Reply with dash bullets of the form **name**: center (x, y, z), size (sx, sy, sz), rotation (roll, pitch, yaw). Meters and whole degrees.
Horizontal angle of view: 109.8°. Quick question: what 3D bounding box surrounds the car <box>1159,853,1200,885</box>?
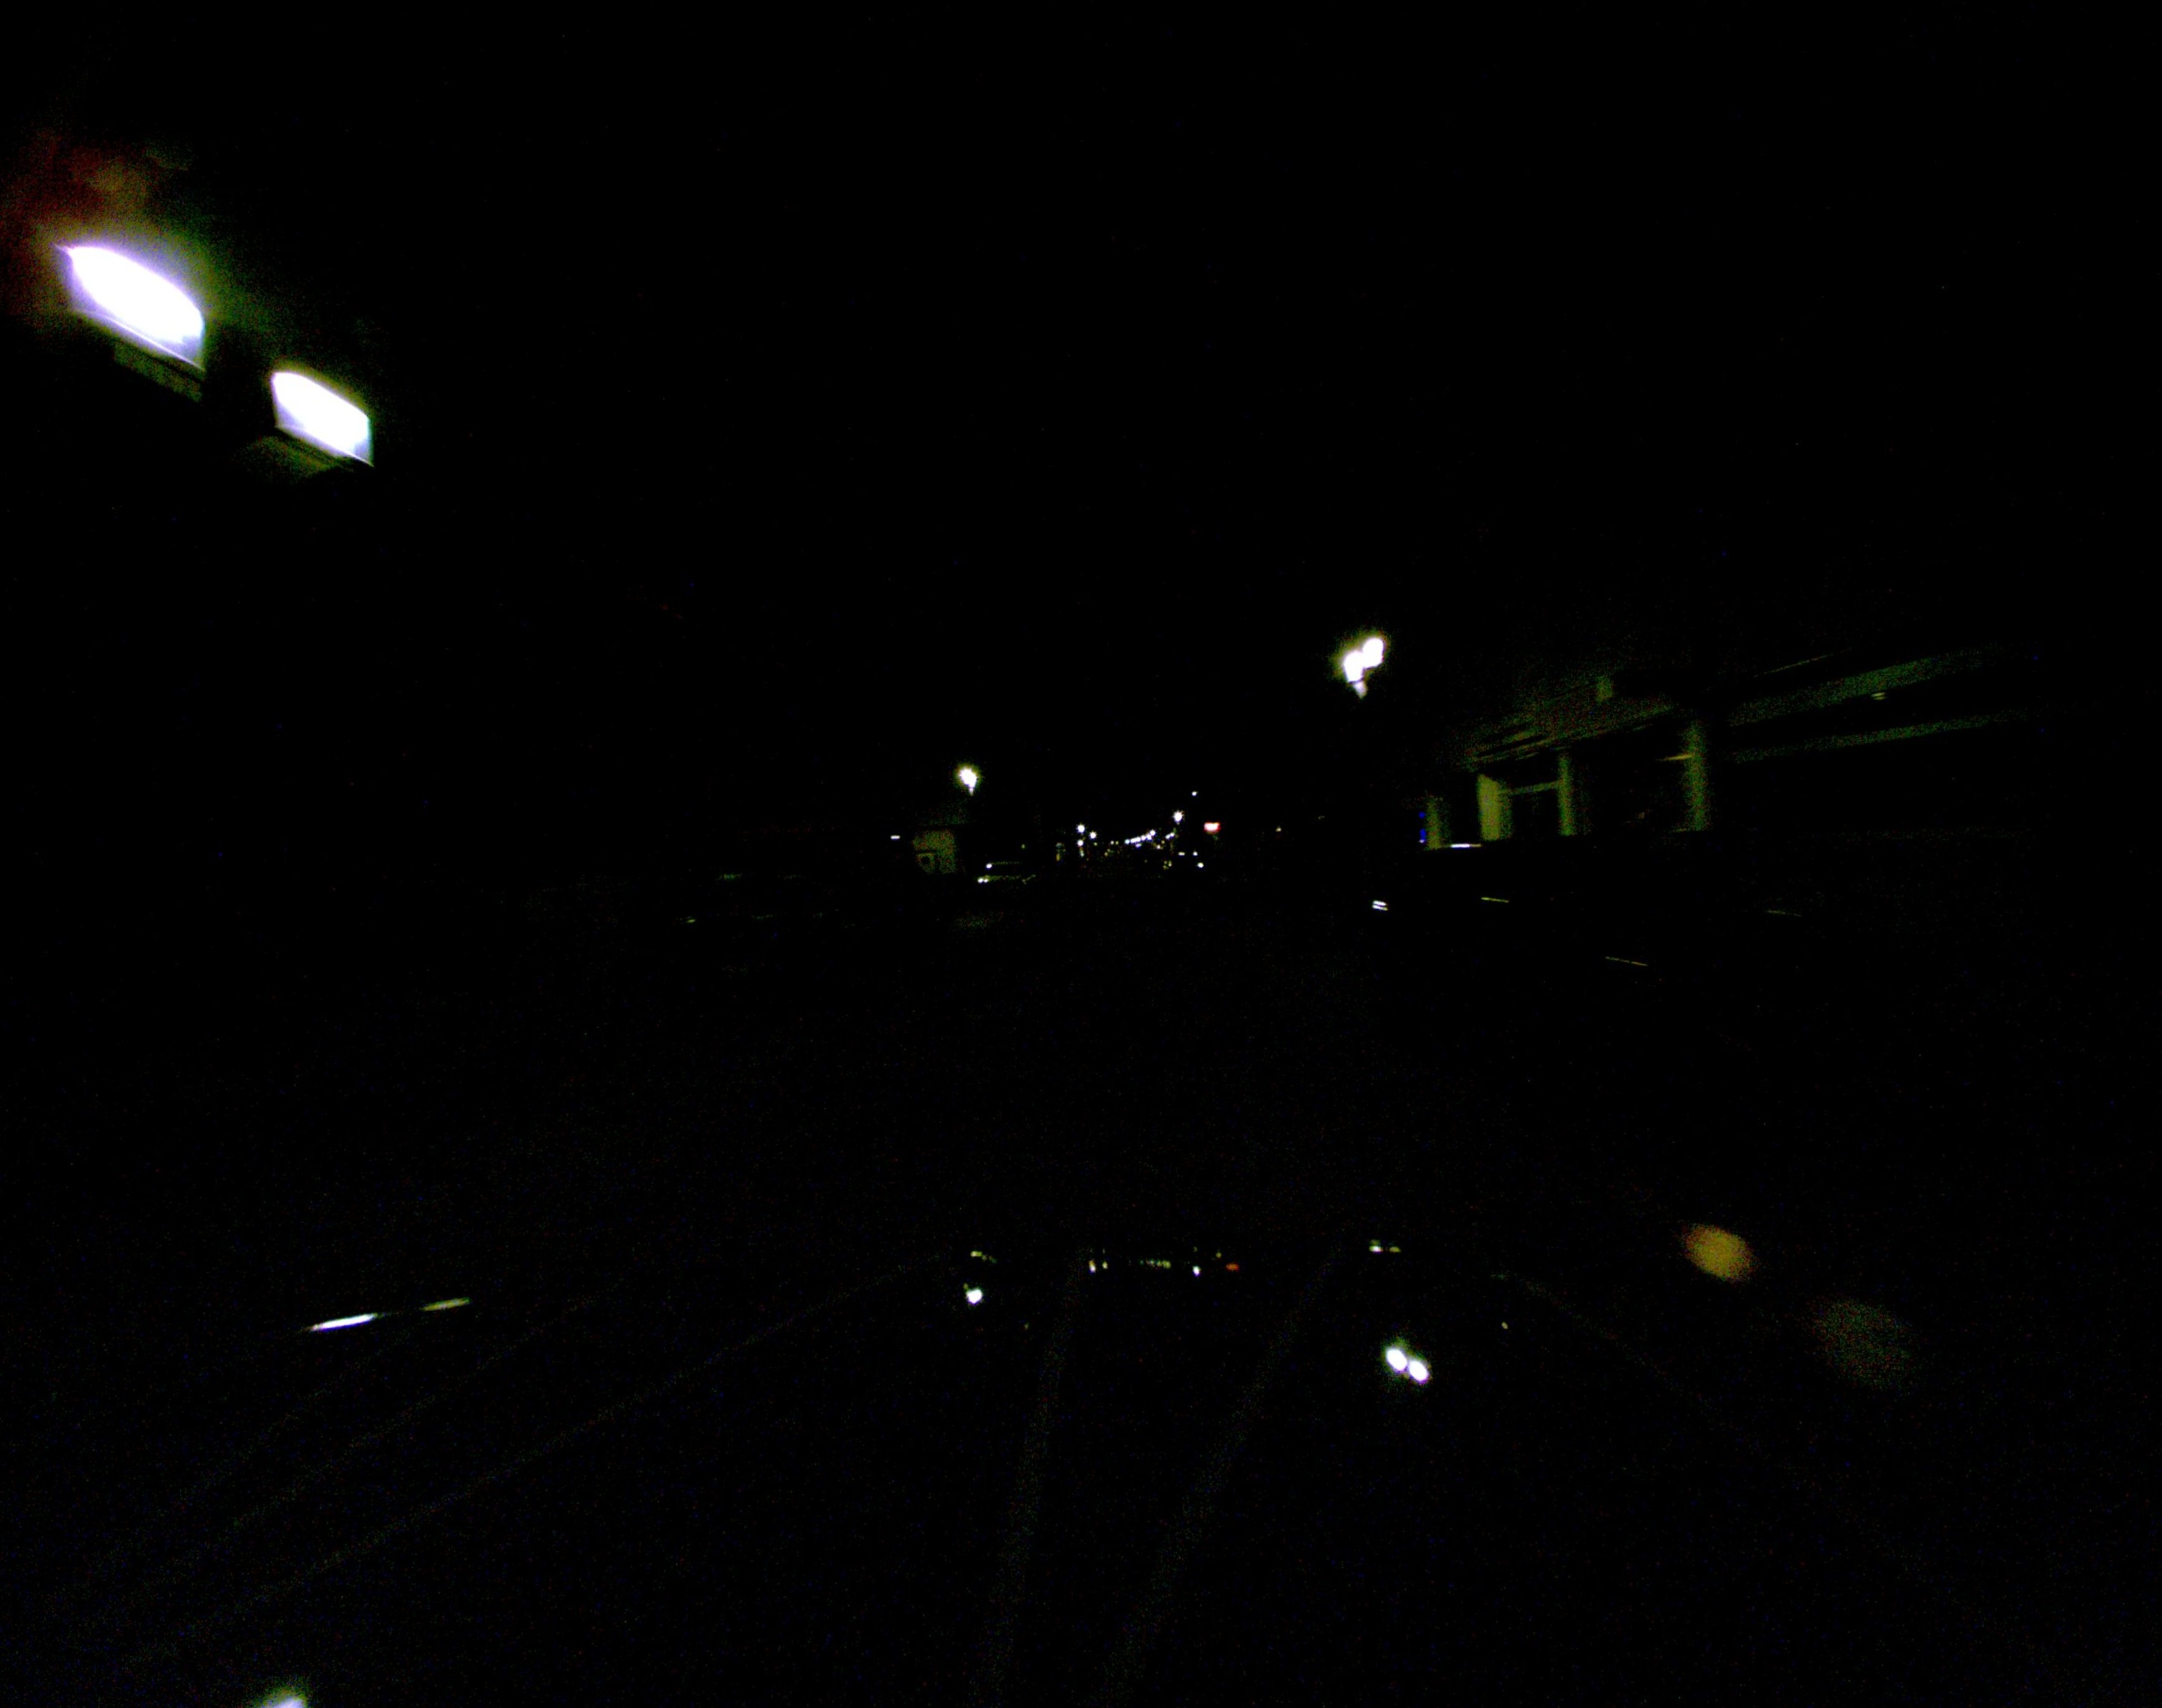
- **car**: center (5.176, 0.758, 40.380), size (1.732, 1.468, 3.847), rotation (-4, 0, 2)

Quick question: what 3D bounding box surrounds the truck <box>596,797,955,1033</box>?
- **truck**: center (-3.574, 0.631, 10.571), size (2.342, 2.298, 5.781), rotation (-3, 0, 3)

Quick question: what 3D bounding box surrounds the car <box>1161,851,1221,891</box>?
- **car**: center (4.819, 0.712, 34.050), size (2.024, 1.479, 5.008), rotation (-6, 0, 3)

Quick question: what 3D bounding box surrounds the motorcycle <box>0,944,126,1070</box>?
- **motorcycle**: center (-11.391, 1.619, 7.913), size (2.022, 1.179, 0.561), rotation (-3, 0, -3)

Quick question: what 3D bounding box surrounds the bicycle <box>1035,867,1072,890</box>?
- **bicycle**: center (-1.377, 1.212, 37.989), size (1.759, 1.056, 0.346), rotation (-3, 0, 1)

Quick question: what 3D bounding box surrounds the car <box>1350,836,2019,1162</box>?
- **car**: center (3.845, 0.740, 5.981), size (1.678, 1.534, 4.229), rotation (-4, 0, -3)

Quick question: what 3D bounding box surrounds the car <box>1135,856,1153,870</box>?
- **car**: center (7.614, 1.073, 92.173), size (1.801, 1.469, 4.321), rotation (-5, 0, 3)

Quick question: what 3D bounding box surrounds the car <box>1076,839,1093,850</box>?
- **car**: center (0.458, -1.175, 96.579), size (1.664, 1.369, 4.105), rotation (-1, 1, 7)

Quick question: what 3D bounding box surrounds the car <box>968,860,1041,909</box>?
- **car**: center (-2.549, 0.993, 26.205), size (1.793, 1.483, 4.060), rotation (-2, 0, 4)

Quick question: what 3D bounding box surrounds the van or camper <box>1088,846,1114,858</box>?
- **van or camper**: center (5.037, -0.536, 189.773), size (6.059, 2.518, 2.158), rotation (-3, 0, -28)

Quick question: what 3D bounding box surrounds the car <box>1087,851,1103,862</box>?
- **car**: center (1.927, 0.299, 104.773), size (1.757, 1.455, 4.468), rotation (-1, 1, 7)

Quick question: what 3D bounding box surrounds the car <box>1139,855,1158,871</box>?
- **car**: center (6.750, 0.889, 76.521), size (1.720, 1.404, 4.386), rotation (-5, 0, 4)

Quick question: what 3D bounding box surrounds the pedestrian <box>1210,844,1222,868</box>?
- **pedestrian**: center (10.167, 0.173, 57.203), size (0.622, 1.735, 1.023), rotation (-4, 1, 4)

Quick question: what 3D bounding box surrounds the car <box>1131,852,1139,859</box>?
- **car**: center (12.717, 0.395, 180.328), size (1.655, 1.417, 4.015), rotation (-6, 0, 2)

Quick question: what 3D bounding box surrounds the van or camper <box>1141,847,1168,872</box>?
- **van or camper**: center (6.381, 0.418, 65.560), size (1.849, 1.930, 5.156), rotation (-4, 0, 9)
